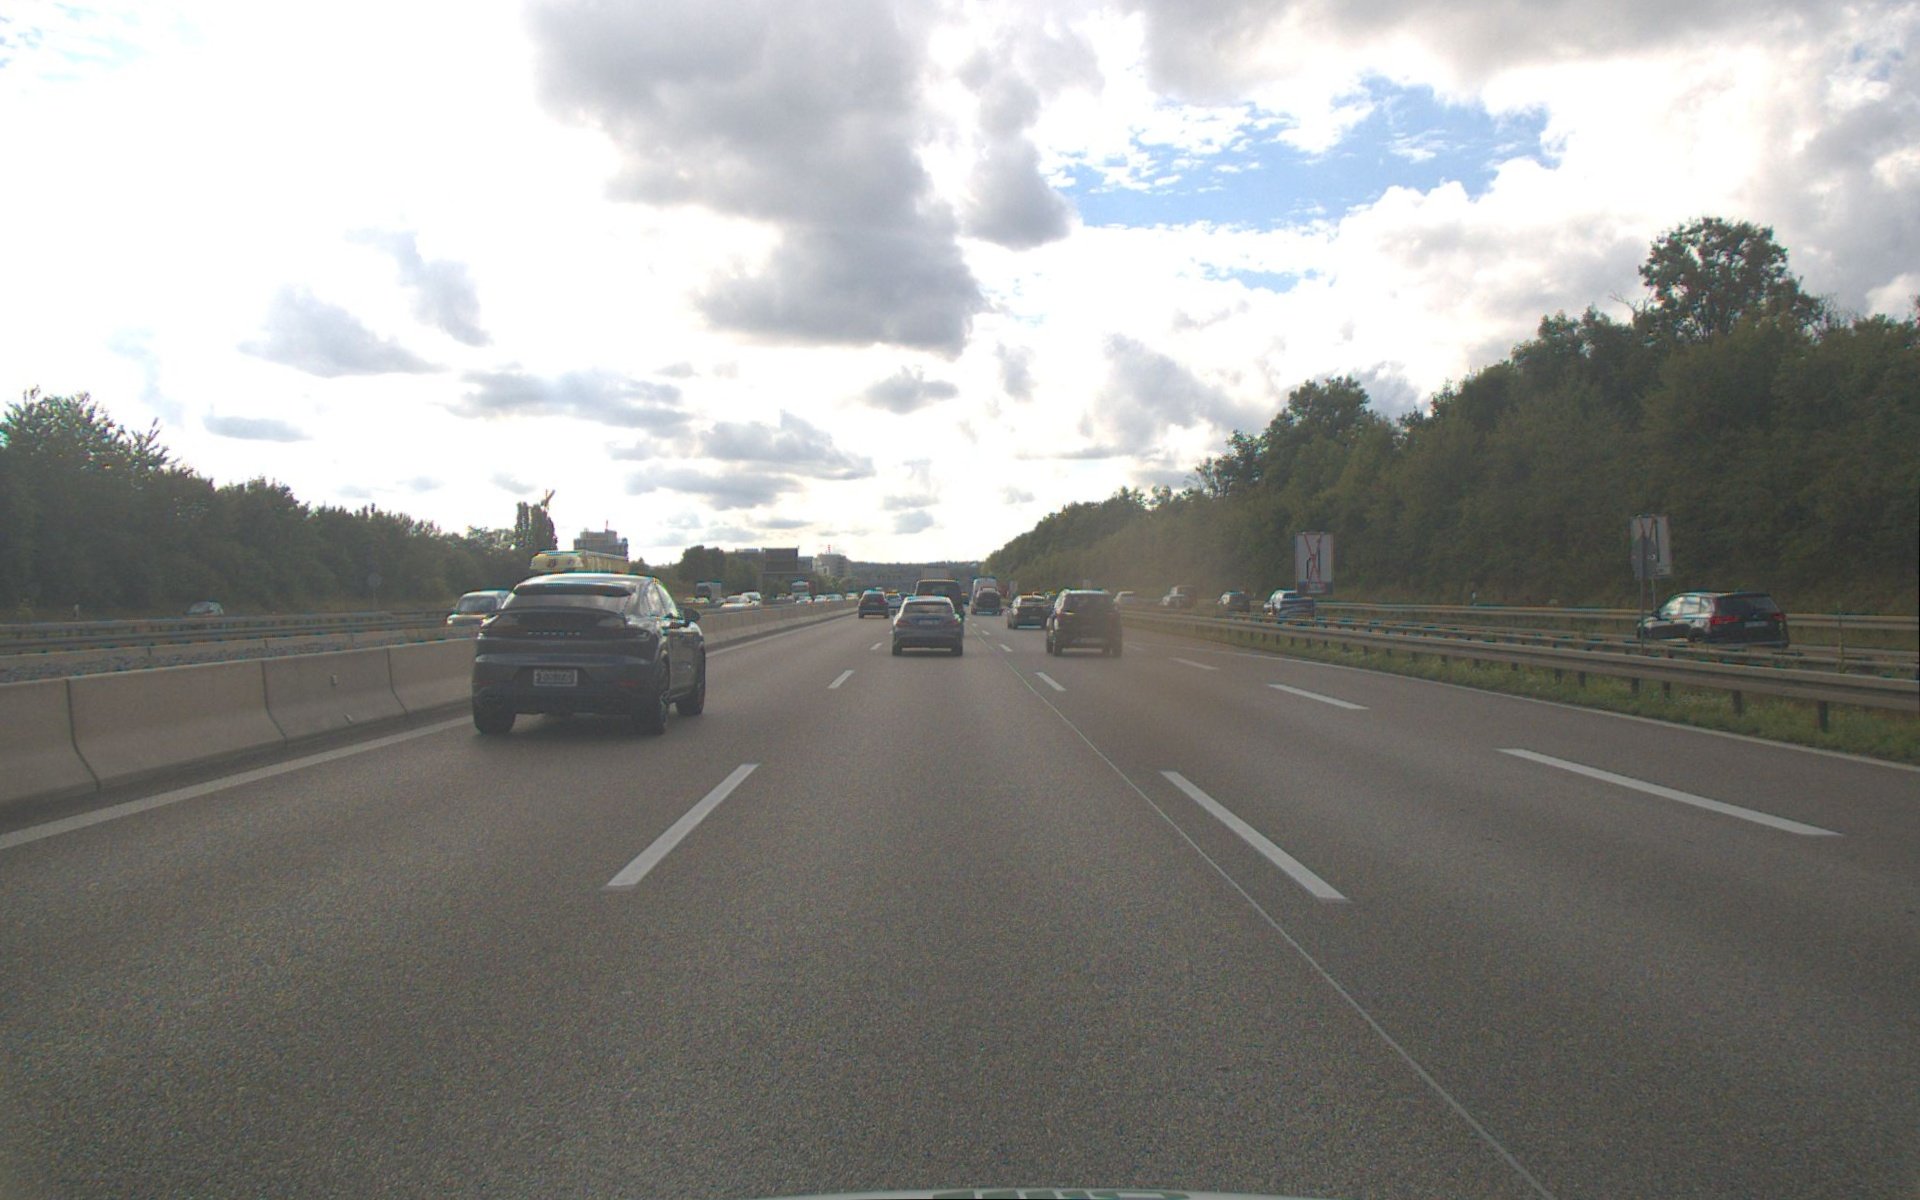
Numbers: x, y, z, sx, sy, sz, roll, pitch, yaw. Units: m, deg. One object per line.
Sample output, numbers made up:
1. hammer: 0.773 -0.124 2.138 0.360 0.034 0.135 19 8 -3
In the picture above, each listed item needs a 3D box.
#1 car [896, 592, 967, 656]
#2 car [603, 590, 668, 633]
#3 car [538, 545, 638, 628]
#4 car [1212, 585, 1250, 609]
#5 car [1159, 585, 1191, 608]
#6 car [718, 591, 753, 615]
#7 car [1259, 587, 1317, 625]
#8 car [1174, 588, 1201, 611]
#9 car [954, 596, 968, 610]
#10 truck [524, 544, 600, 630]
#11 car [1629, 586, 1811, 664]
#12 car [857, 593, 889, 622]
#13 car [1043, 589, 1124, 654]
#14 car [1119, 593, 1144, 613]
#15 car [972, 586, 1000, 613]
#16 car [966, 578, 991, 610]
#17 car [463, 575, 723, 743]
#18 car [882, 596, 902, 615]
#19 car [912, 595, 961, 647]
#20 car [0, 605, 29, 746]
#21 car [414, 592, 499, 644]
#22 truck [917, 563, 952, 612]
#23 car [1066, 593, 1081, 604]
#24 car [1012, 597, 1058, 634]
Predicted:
1. car: -0.726 0.569 41.741 1.686 1.505 4.390 0 0 -1
2. car: -12.663 0.427 64.749 1.740 1.599 4.180 1 0 -1
3. car: -21.356 -0.790 95.988 2.846 4.401 14.142 -1 0 -1
4. car: 18.512 -0.205 113.030 1.694 1.573 4.304 -2 1 -3
5. car: 14.960 -0.261 115.213 1.563 1.573 4.188 0 0 -3
6. car: -13.945 0.197 102.966 1.632 1.426 4.533 -1 0 -1
7. car: 15.876 0.264 80.216 1.809 1.679 4.305 -2 1 -1
8. car: 18.595 -0.054 135.393 1.563 1.835 3.823 1 0 -3
9. car: 0.078 0.403 215.824 1.716 1.725 4.189 0 0 -1
10. truck: -21.247 -0.693 88.618 2.838 4.399 5.161 -1 0 -1
11. car: 16.497 0.495 36.158 1.806 1.510 4.525 -2 1 -1
12. car: -5.271 0.472 100.702 1.835 1.727 4.071 0 0 -1
13. car: 3.137 0.527 42.546 1.663 1.592 4.112 0 0 -2
14. car: 15.036 0.221 145.310 1.716 1.725 4.189 0 0 -1
15. car: 1.903 -0.050 121.018 1.874 1.952 4.029 0 0 -1
16. car: 1.406 -0.469 127.909 1.835 2.399 4.281 0 0 -1
17. car: -4.029 0.568 19.135 1.873 1.664 5.499 0 0 -1
18. car: -5.923 0.487 144.399 1.663 1.639 4.112 0 0 -2
19. car: -0.846 0.714 59.222 1.686 1.754 4.390 0 0 -1
20. car: -12.054 0.894 17.689 1.736 1.639 4.464 0 0 -1
21. car: -16.703 0.561 55.090 1.562 1.639 4.462 0 0 -1
22. truck: -2.439 -1.138 157.198 3.197 4.451 11.023 1 0 -1
23. car: 16.409 -0.257 239.969 1.717 1.543 4.188 0 0 -2
24. car: 3.297 0.674 73.416 1.795 1.547 4.224 0 0 -1
